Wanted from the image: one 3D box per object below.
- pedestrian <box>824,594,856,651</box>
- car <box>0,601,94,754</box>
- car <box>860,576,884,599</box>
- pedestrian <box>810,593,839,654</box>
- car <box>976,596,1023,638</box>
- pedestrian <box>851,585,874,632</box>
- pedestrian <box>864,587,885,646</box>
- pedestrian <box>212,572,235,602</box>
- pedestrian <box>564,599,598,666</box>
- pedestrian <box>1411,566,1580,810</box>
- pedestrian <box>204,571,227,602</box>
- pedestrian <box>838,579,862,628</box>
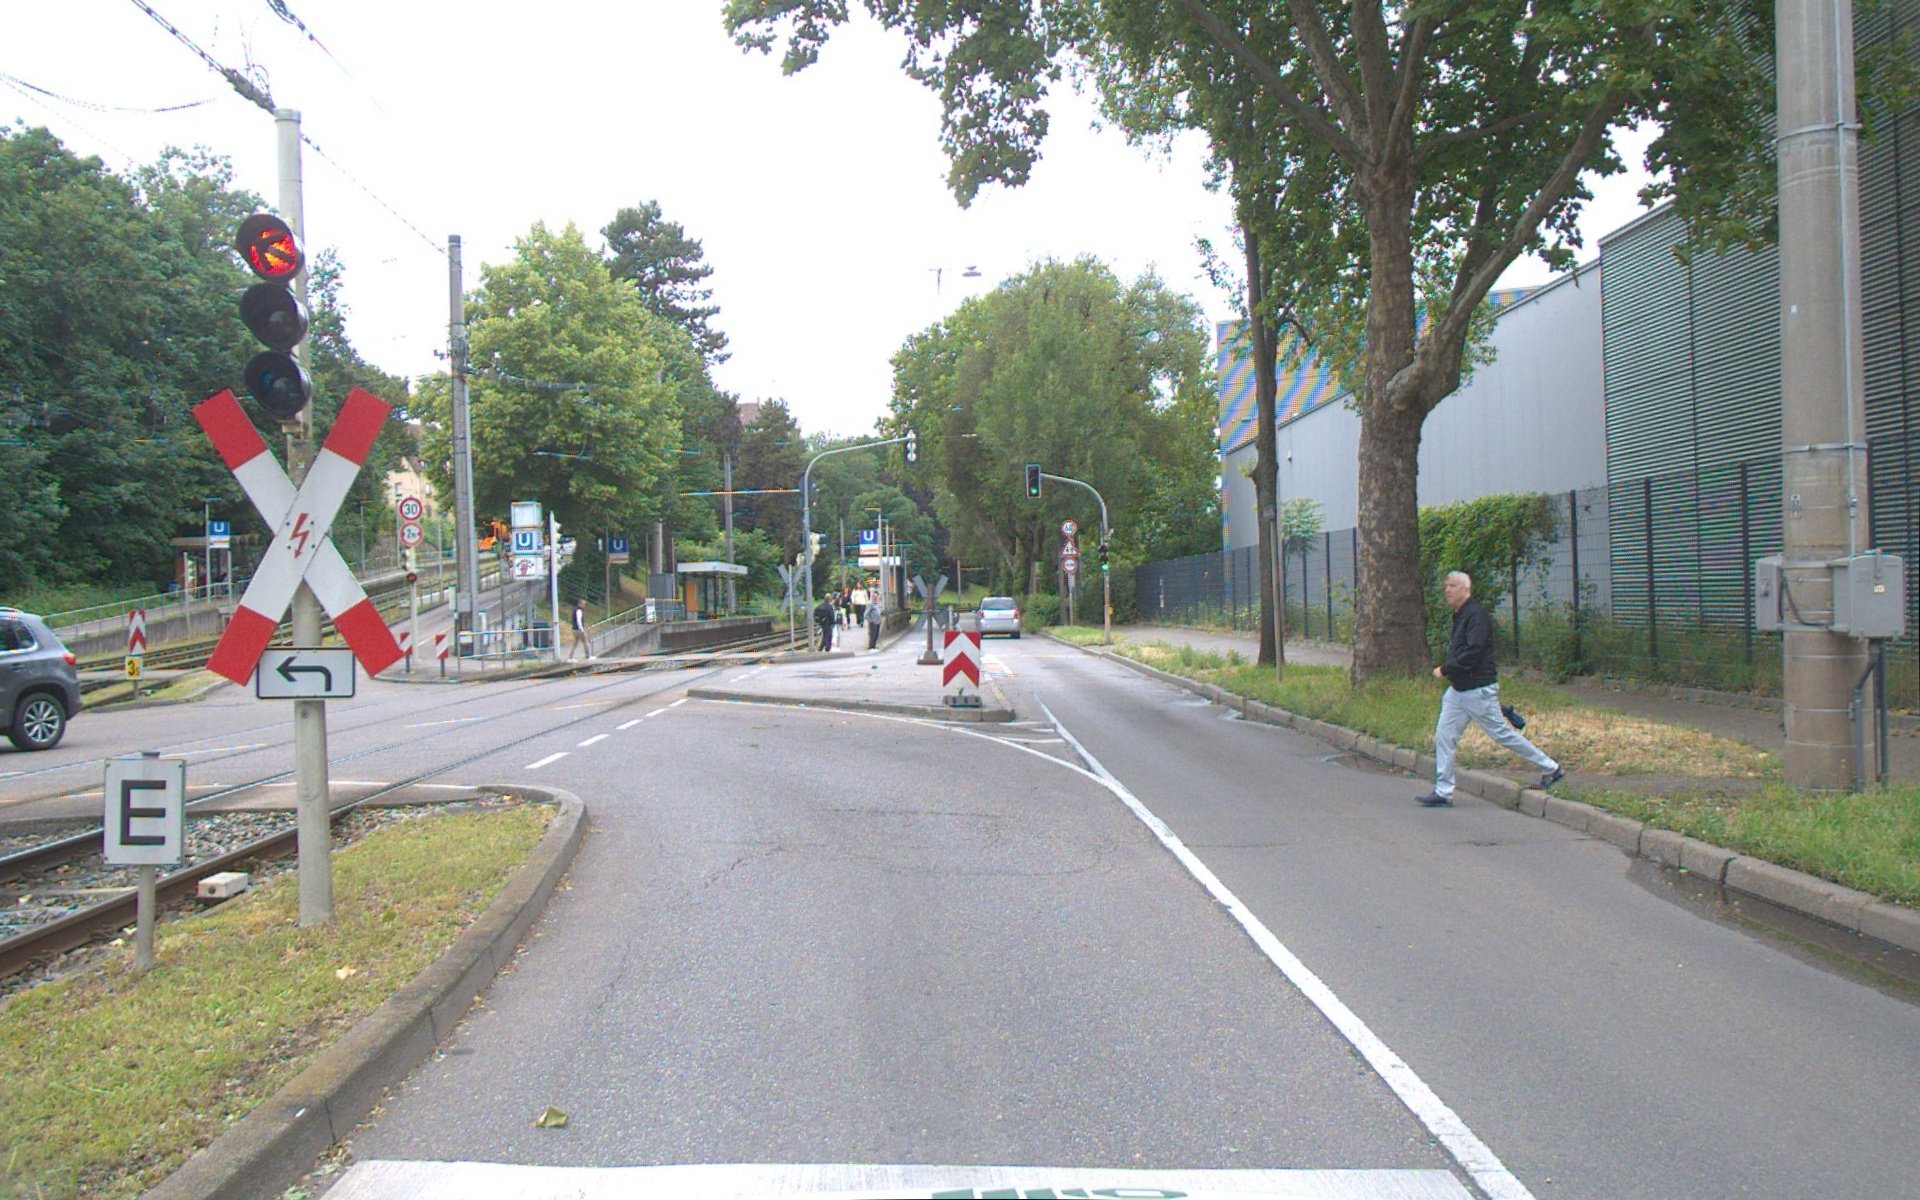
[{"bbox_3d":[-3.615,0.685,49.686,0.727,1.694,0.675,1,-1,-28],"label":"pedestrian"},{"bbox_3d":[-12.101,0.932,18.417,1.861,1.748,4.137,-3,-1,20],"label":"car"},{"bbox_3d":[-8.003,-1.122,151.049,1.953,2.049,3.999,1,0,-1],"label":"car"},{"bbox_3d":[-3.820,0.668,46.656,0.720,1.694,0.682,1,-1,1],"label":"pedestrian"},{"bbox_3d":[1.550,0.663,66.123,1.708,1.627,3.999,1,0,-1],"label":"car"},{"bbox_3d":[-3.516,0.308,59.404,0.722,1.694,0.680,1,-1,-11],"label":"pedestrian"},{"bbox_3d":[-2.628,0.505,50.729,0.538,1.789,0.738,1,-1,4],"label":"pedestrian"},{"bbox_3d":[-33.574,-0.597,75.410,0.757,1.349,0.785,1,-1,-9],"label":"pedestrian"},{"bbox_3d":[-10.686,0.918,46.595,0.792,1.853,0.665,1,-1,-24],"label":"pedestrian"},{"bbox_3d":[4.091,0.651,12.715,1.093,1.791,0.814,1,0,7],"label":"pedestrian"},{"bbox_3d":[-33.432,-0.600,74.285,0.757,1.349,0.786,1,2,-9],"label":"pedestrian"},{"bbox_3d":[-3.887,0.133,58.373,0.722,1.694,0.680,1,-1,-11],"label":"pedestrian"}]
